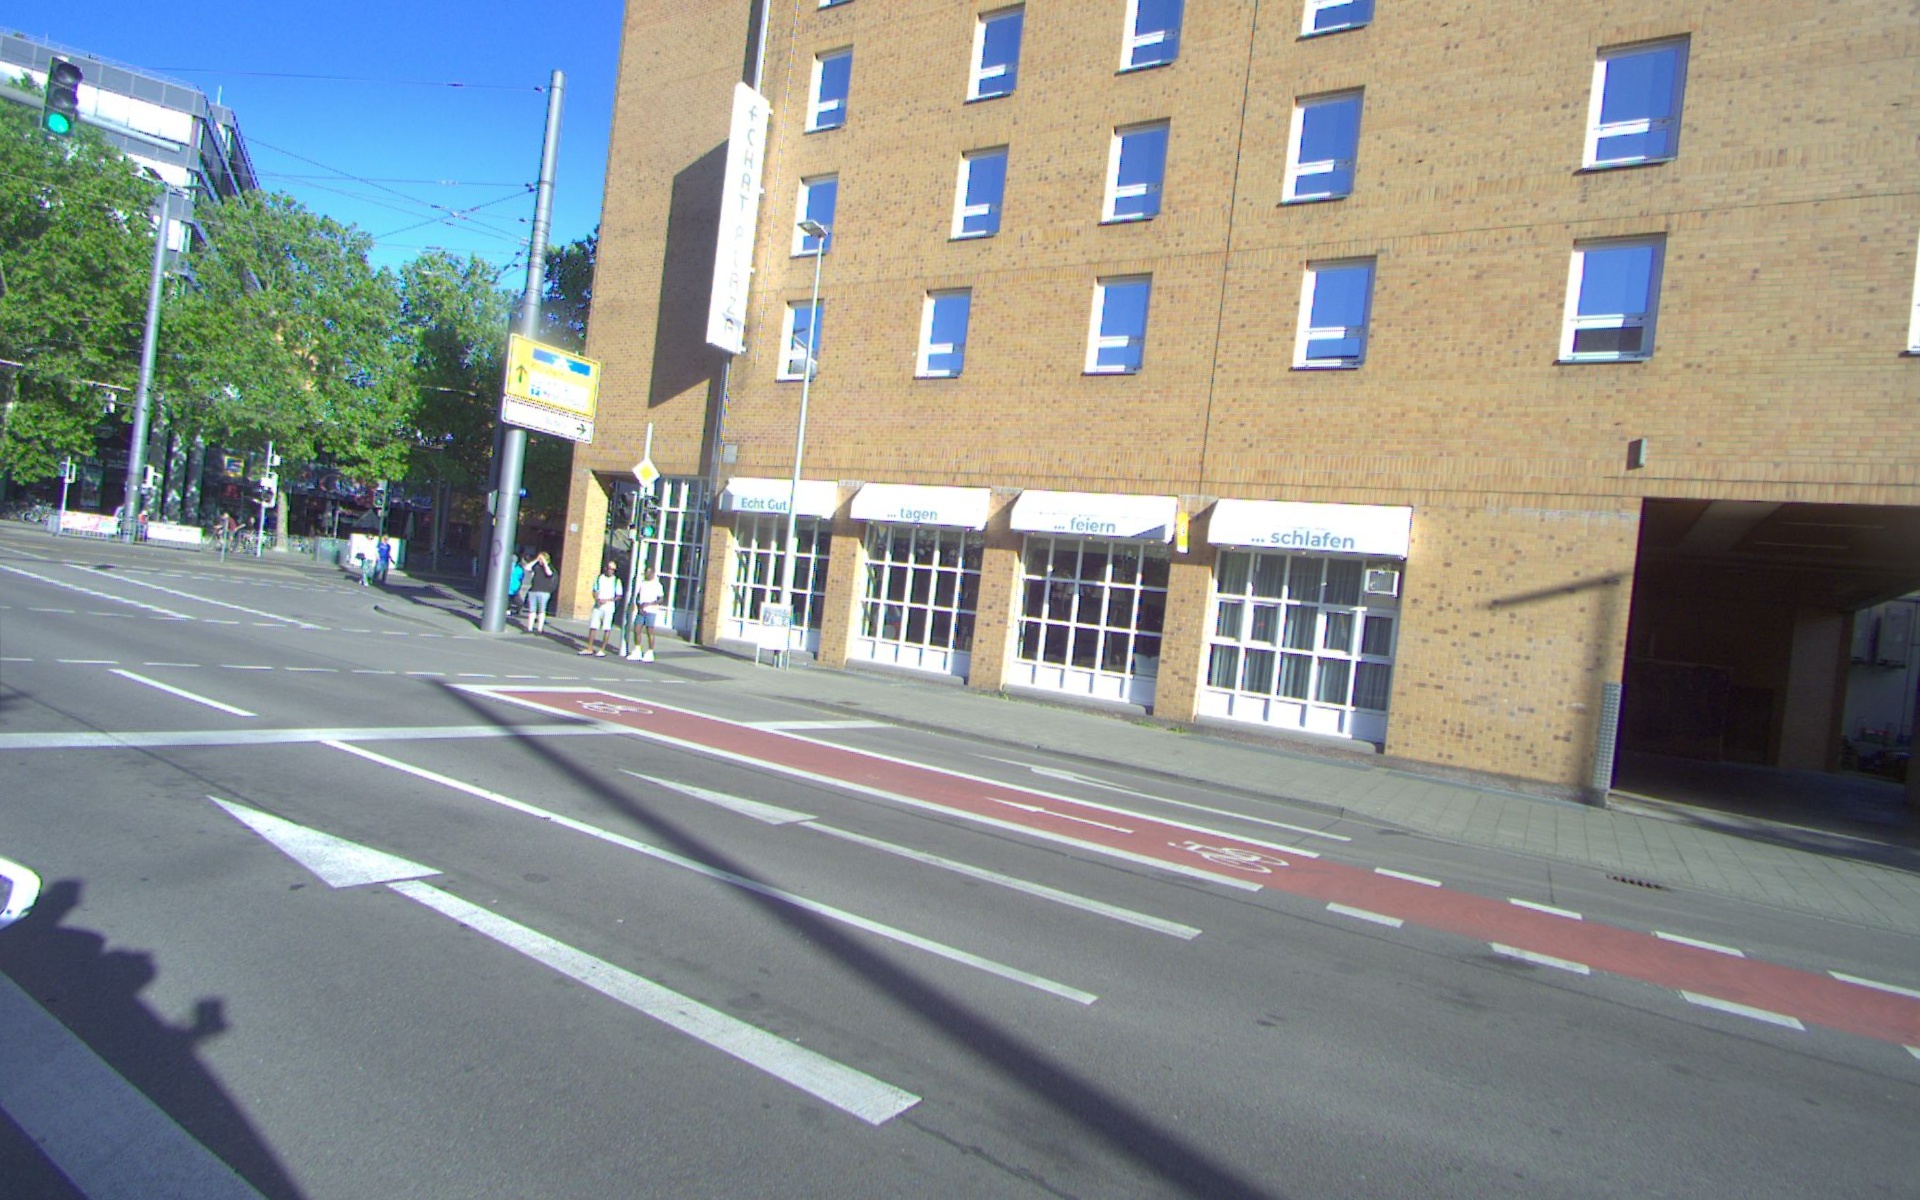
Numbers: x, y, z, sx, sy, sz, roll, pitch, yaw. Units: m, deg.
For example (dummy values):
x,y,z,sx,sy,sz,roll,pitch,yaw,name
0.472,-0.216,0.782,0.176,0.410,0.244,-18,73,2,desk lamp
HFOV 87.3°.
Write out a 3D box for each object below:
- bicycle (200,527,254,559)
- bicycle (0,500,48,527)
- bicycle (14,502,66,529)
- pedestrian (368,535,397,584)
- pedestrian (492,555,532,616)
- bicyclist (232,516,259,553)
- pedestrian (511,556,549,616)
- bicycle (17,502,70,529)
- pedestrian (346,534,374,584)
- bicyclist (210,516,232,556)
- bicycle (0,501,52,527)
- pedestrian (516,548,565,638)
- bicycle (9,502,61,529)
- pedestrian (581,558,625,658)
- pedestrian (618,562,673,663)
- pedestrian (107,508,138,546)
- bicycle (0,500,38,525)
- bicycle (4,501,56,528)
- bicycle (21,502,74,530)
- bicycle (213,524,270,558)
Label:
x,y,z,sx,sy,sz,roll,pitch,yaw,name
-36.223,-2.801,49.771,0.414,1.228,2.046,6,-2,32,bicycle
-49.184,-4.536,52.755,0.354,1.058,1.885,7,-2,31,bicycle
-47.308,-4.330,51.743,0.354,1.058,1.884,6,-2,31,bicycle
-18.893,-1.329,32.915,0.563,1.496,0.695,8,-2,-37,pedestrian
-11.401,-0.376,25.606,0.591,1.470,0.593,6,0,32,pedestrian
-32.031,-2.944,45.095,0.556,1.536,0.634,7,-1,4,bicyclist
-11.221,-0.355,26.256,0.543,1.495,0.593,6,0,32,pedestrian
-46.664,-4.281,51.262,0.354,1.058,1.884,6,-2,31,bicycle
-19.405,-1.324,32.527,0.563,1.550,0.695,8,-2,-37,pedestrian
-36.360,-3.145,49.500,0.396,1.859,0.585,6,-1,31,bicyclist
-48.744,-4.482,52.538,0.354,1.058,1.885,7,-2,31,bicycle
-8.935,-0.145,21.442,0.726,1.813,0.510,7,-1,-19,pedestrian
-47.795,-4.370,51.995,0.354,1.058,1.884,7,-2,31,bicycle
-6.754,0.149,19.001,0.587,1.804,0.676,4,3,-27,pedestrian
-5.901,0.237,18.898,0.583,1.802,0.682,6,0,6,pedestrian
-41.147,-3.577,49.441,0.747,1.724,0.834,6,-1,32,pedestrian
-50.178,-4.650,53.286,0.354,1.058,1.885,7,-2,31,bicycle
-48.329,-4.426,52.308,0.354,1.058,1.884,6,-2,31,bicycle
-46.054,-4.236,50.785,0.354,1.058,1.884,6,-2,31,bicycle
-32.076,-2.630,44.937,0.557,1.191,2.333,6,-2,6,bicycle
